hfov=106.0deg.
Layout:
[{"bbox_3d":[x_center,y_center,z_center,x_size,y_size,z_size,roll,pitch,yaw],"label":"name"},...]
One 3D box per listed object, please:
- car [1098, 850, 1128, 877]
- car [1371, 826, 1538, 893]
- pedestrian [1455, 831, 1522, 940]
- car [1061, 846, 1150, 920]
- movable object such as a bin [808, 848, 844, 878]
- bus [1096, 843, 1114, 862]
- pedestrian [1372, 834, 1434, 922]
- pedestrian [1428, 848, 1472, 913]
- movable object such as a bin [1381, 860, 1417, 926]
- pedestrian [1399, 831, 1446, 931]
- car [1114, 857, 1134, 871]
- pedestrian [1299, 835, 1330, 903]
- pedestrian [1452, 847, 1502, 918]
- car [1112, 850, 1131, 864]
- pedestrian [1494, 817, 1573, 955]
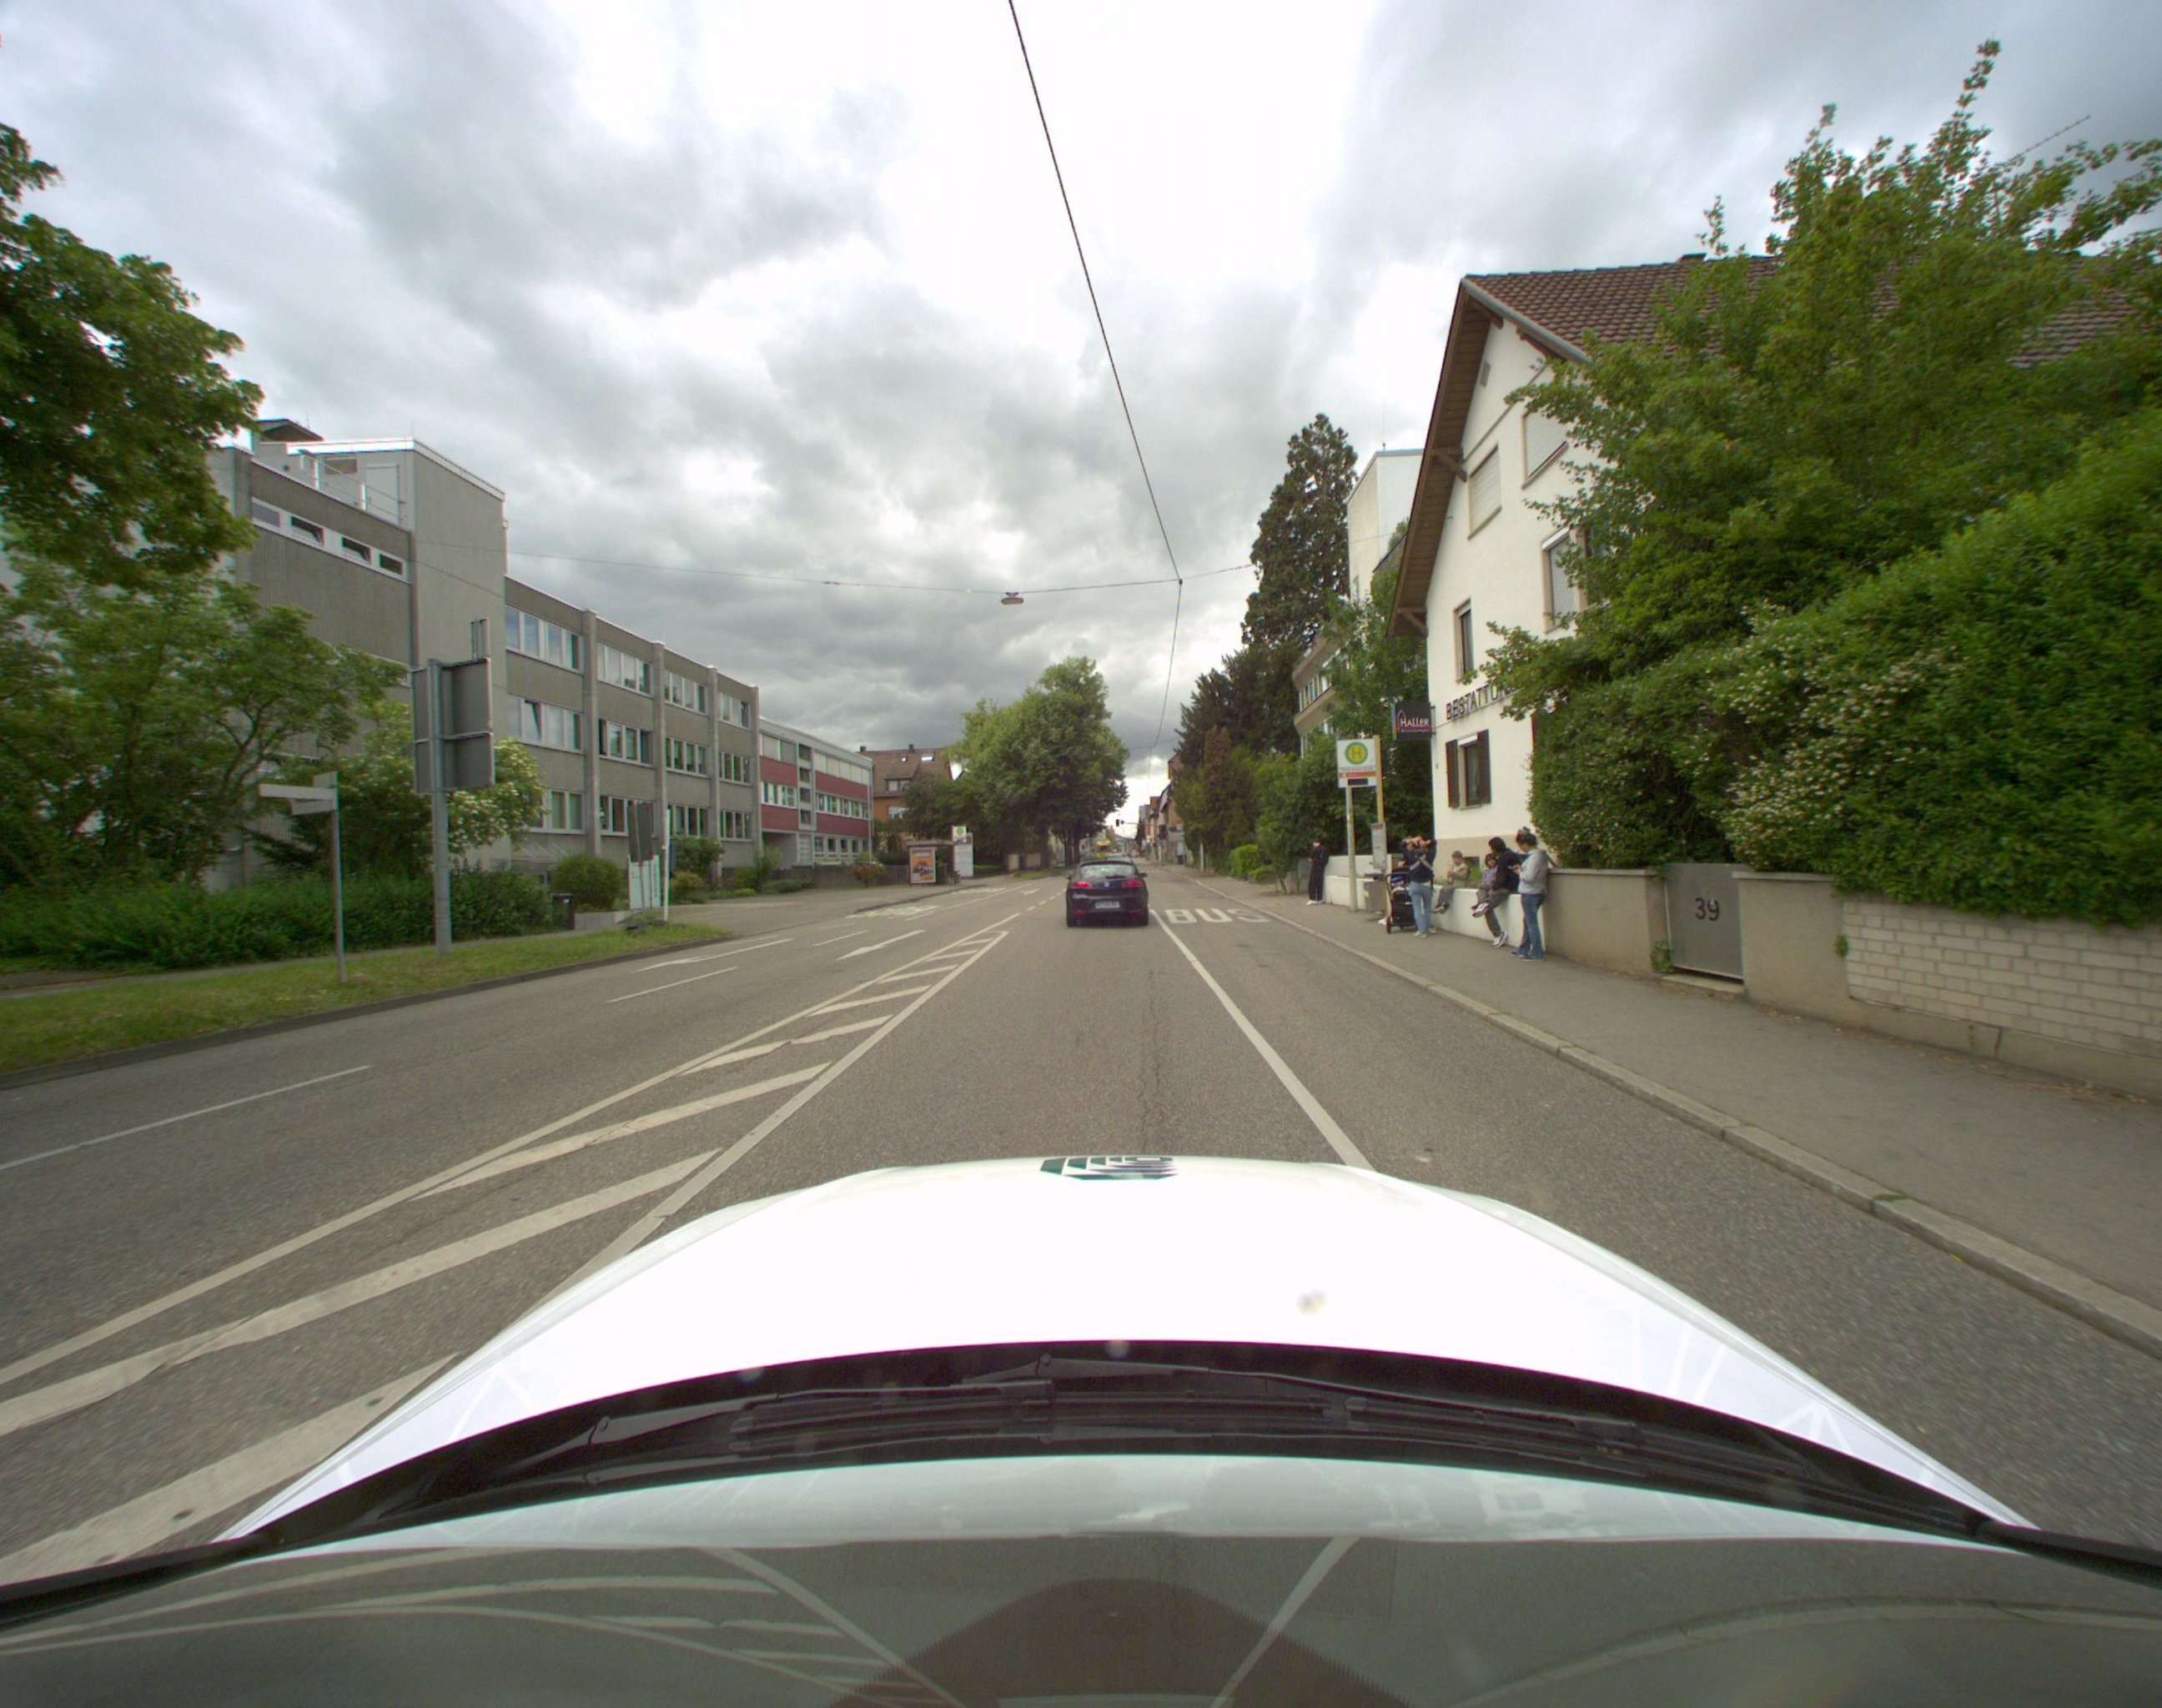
[{"bbox_3d":[2.202,0.619,54.889,1.811,1.699,4.257,-1,0,4],"label":"car"},{"bbox_3d":[10.812,0.168,23.779,3.975,1.789,1.887,-2,-1,-1],"label":"car"},{"bbox_3d":[5.542,0.426,11.065,0.613,1.427,0.516,-5,0,41],"label":"pedestrian"},{"bbox_3d":[0.475,0.599,18.214,1.754,1.449,3.713,1,-1,-1],"label":"car"},{"bbox_3d":[-17.674,0.601,56.455,1.986,2.014,1.543,-1,-1,2],"label":"movable object such as a bin"},{"bbox_3d":[4.145,-0.247,139.645,2.857,3.136,6.400,-1,-1,2],"label":"bus"},{"bbox_3d":[5.736,0.426,14.529,0.778,1.500,0.604,-2,-1,-3],"label":"pedestrian"},{"bbox_3d":[5.808,0.411,12.826,0.453,0.964,0.382,-4,0,-4],"label":"pedestrian"},{"bbox_3d":[5.349,0.651,13.690,0.436,1.058,0.572,-4,0,29],"label":"movable object such as a bin"},{"bbox_3d":[5.306,0.418,12.672,0.546,1.517,0.362,-3,0,11],"label":"pedestrian"},{"bbox_3d":[5.384,1.286,101.498,1.982,1.684,4.009,-1,-1,8],"label":"car"},{"bbox_3d":[6.072,0.383,21.179,0.583,1.712,0.530,-2,-1,1],"label":"pedestrian"},{"bbox_3d":[5.633,0.397,11.599,0.453,0.964,0.382,-4,0,-4],"label":"pedestrian"},{"bbox_3d":[4.461,0.332,89.712,1.935,1.481,4.253,-1,0,0],"label":"car"},{"bbox_3d":[5.358,0.373,9.655,0.543,1.555,0.470,-4,-1,-6],"label":"pedestrian"}]
